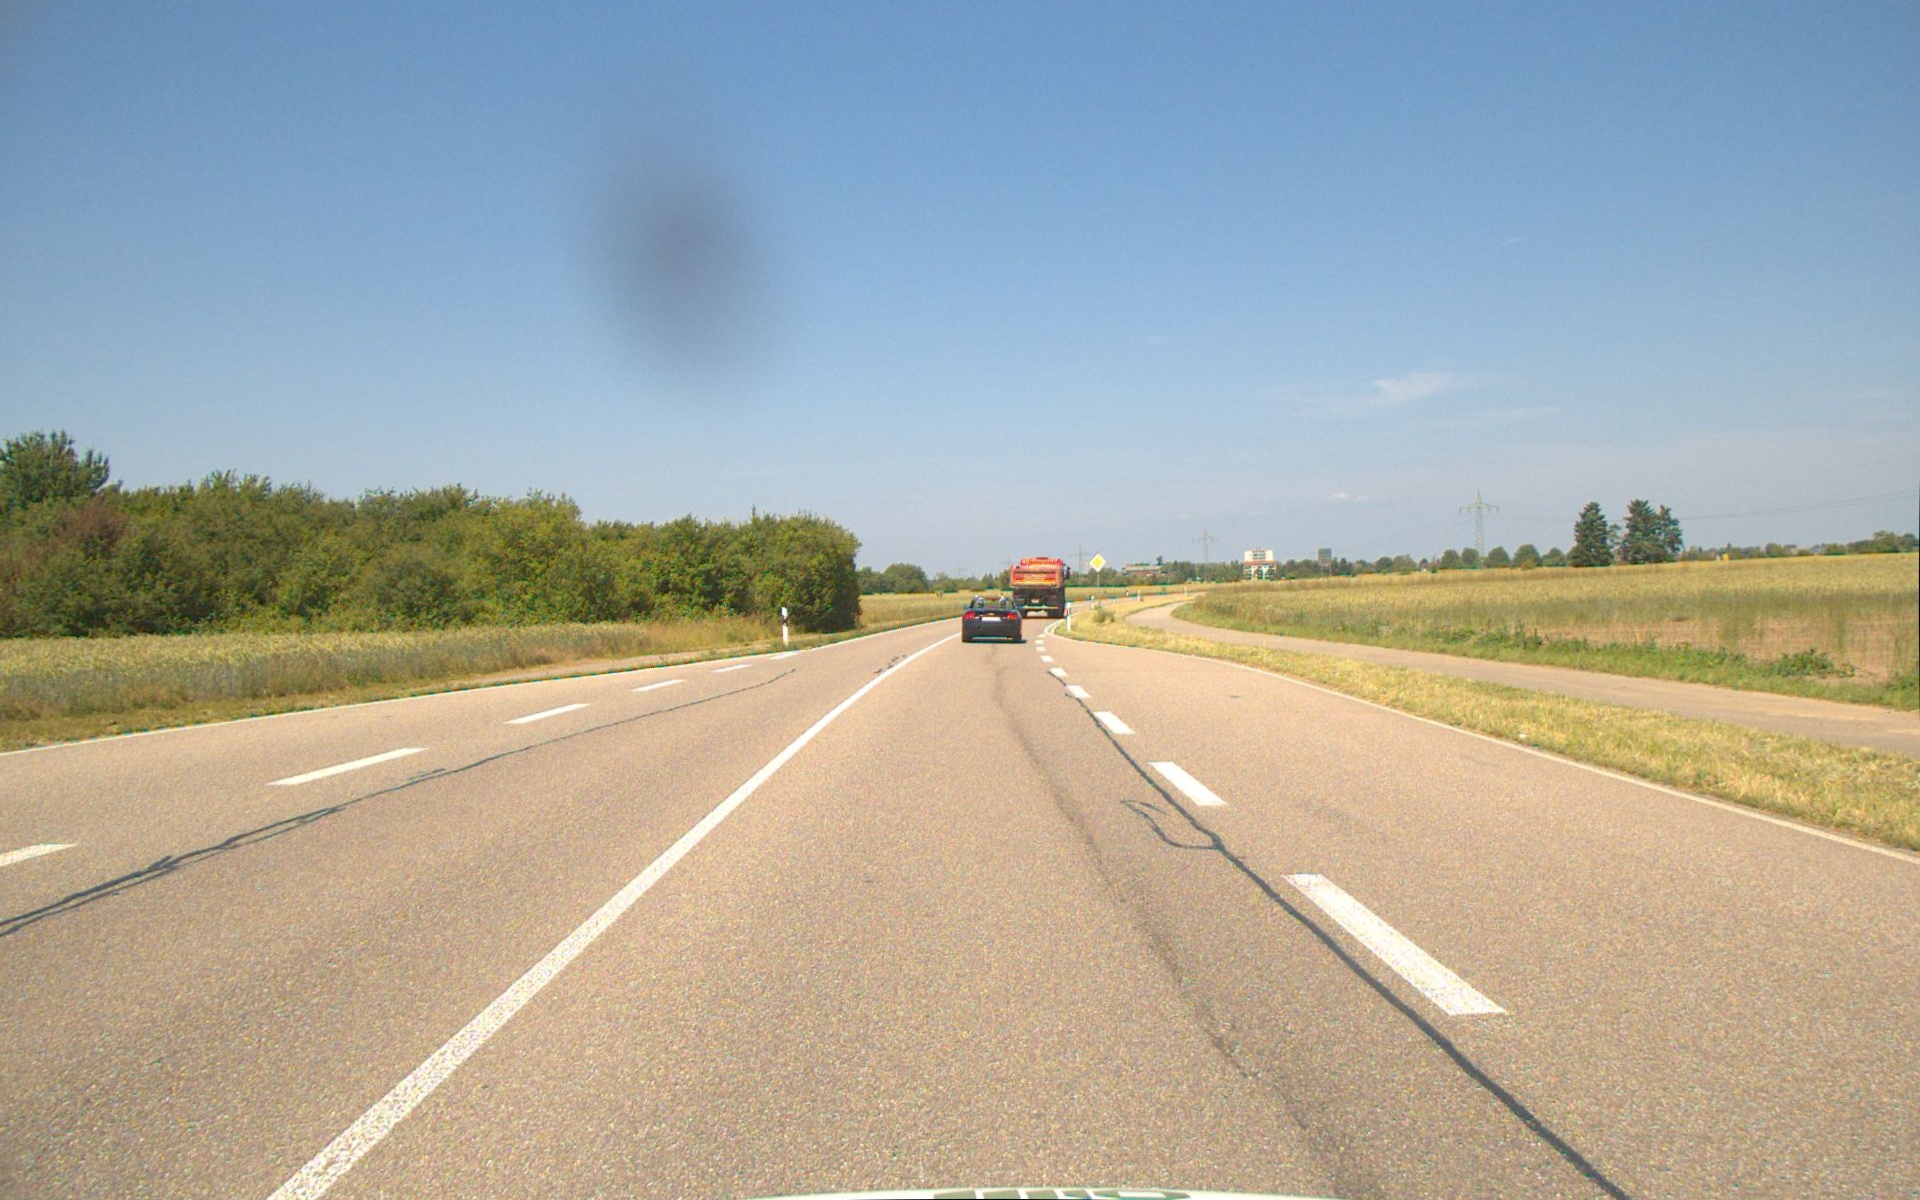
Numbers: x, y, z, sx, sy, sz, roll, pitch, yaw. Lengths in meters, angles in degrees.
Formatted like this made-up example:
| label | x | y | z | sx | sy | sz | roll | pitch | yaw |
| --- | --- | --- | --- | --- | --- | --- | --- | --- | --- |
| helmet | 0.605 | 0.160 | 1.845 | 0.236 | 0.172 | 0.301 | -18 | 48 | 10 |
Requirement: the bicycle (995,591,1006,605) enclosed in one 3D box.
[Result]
| label | x | y | z | sx | sy | sz | roll | pitch | yaw |
| --- | --- | --- | --- | --- | --- | --- | --- | --- | --- |
| bicycle | 3.622 | -0.152 | 147.825 | 0.679 | 1.197 | 1.965 | -2 | 1 | 8 |

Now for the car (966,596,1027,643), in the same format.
| label | x | y | z | sx | sy | sz | roll | pitch | yaw |
| --- | --- | --- | --- | --- | --- | --- | --- | --- | --- |
| car | 1.113 | 0.551 | 48.757 | 1.707 | 1.302 | 4.001 | 0 | 0 | 2 |

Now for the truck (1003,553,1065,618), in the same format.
| label | x | y | z | sx | sy | sz | roll | pitch | yaw |
| --- | --- | --- | --- | --- | --- | --- | --- | --- | --- |
| truck | 3.917 | -0.725 | 85.777 | 2.876 | 3.143 | 7.200 | -1 | 0 | 5 |

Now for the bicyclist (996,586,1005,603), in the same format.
| label | x | y | z | sx | sy | sz | roll | pitch | yaw |
| --- | --- | --- | --- | --- | --- | --- | --- | --- | --- |
| bicyclist | 3.612 | -0.472 | 147.825 | 0.649 | 1.463 | 0.823 | -1 | 0 | 8 |
